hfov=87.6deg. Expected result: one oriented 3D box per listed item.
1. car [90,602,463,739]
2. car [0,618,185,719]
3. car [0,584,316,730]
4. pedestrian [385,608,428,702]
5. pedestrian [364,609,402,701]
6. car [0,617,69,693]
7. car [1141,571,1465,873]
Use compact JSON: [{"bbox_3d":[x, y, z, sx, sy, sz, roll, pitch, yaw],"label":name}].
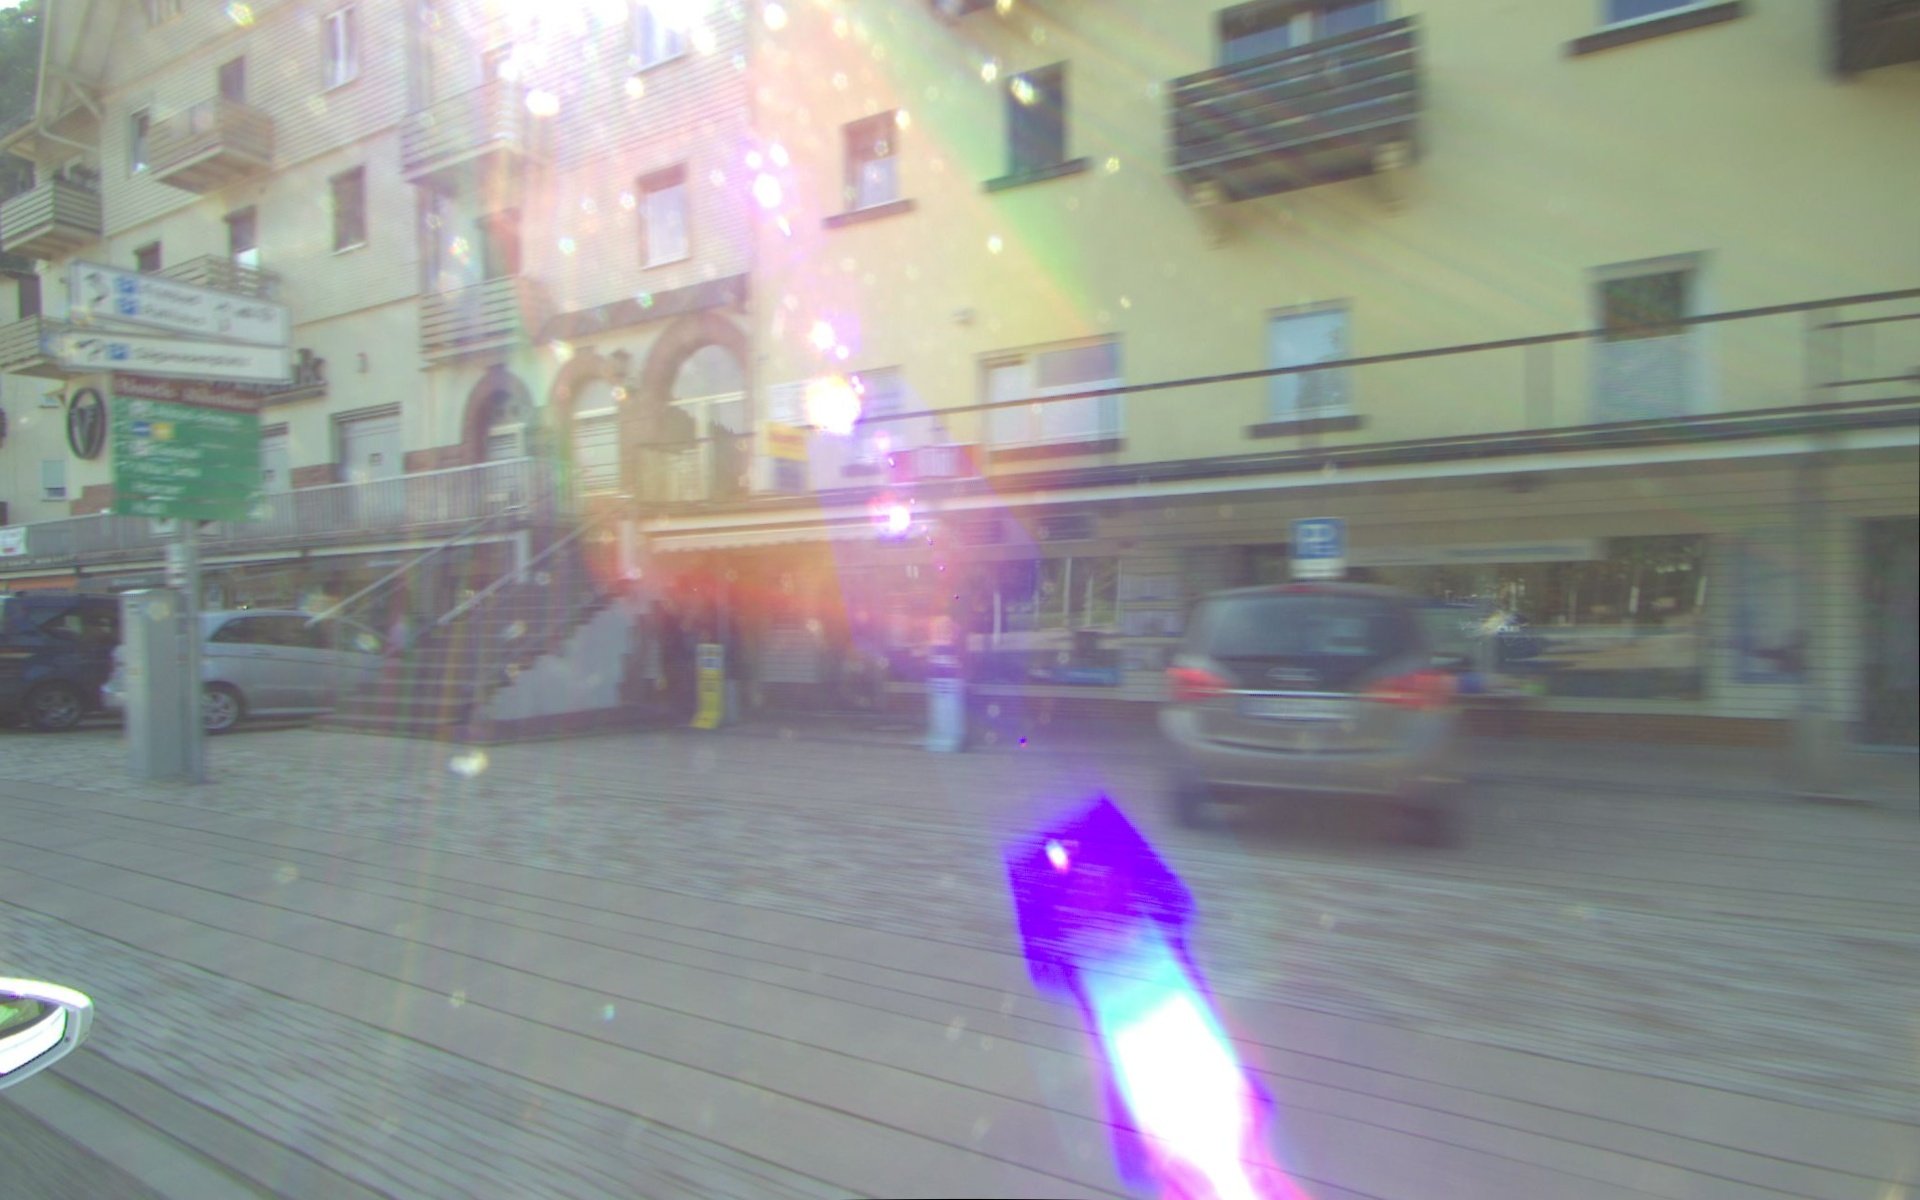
[{"bbox_3d":[-9.260,0.907,13.918,1.748,1.609,3.907,0,-2,29],"label":"car"},{"bbox_3d":[-14.609,1.022,15.378,1.710,1.479,3.908,0,-3,29],"label":"car"},{"bbox_3d":[-11.942,0.821,14.584,1.829,1.826,3.908,-1,-3,29],"label":"car"},{"bbox_3d":[-10.155,1.006,18.387,0.426,1.681,0.457,-1,2,12],"label":"pedestrian"},{"bbox_3d":[-10.754,1.017,18.656,0.429,1.681,0.410,0,3,37],"label":"pedestrian"},{"bbox_3d":[-19.970,1.071,18.951,1.747,1.479,4.350,-2,-2,31],"label":"car"},{"bbox_3d":[2.713,0.715,7.351,1.732,1.574,3.860,0,-2,26],"label":"car"}]
